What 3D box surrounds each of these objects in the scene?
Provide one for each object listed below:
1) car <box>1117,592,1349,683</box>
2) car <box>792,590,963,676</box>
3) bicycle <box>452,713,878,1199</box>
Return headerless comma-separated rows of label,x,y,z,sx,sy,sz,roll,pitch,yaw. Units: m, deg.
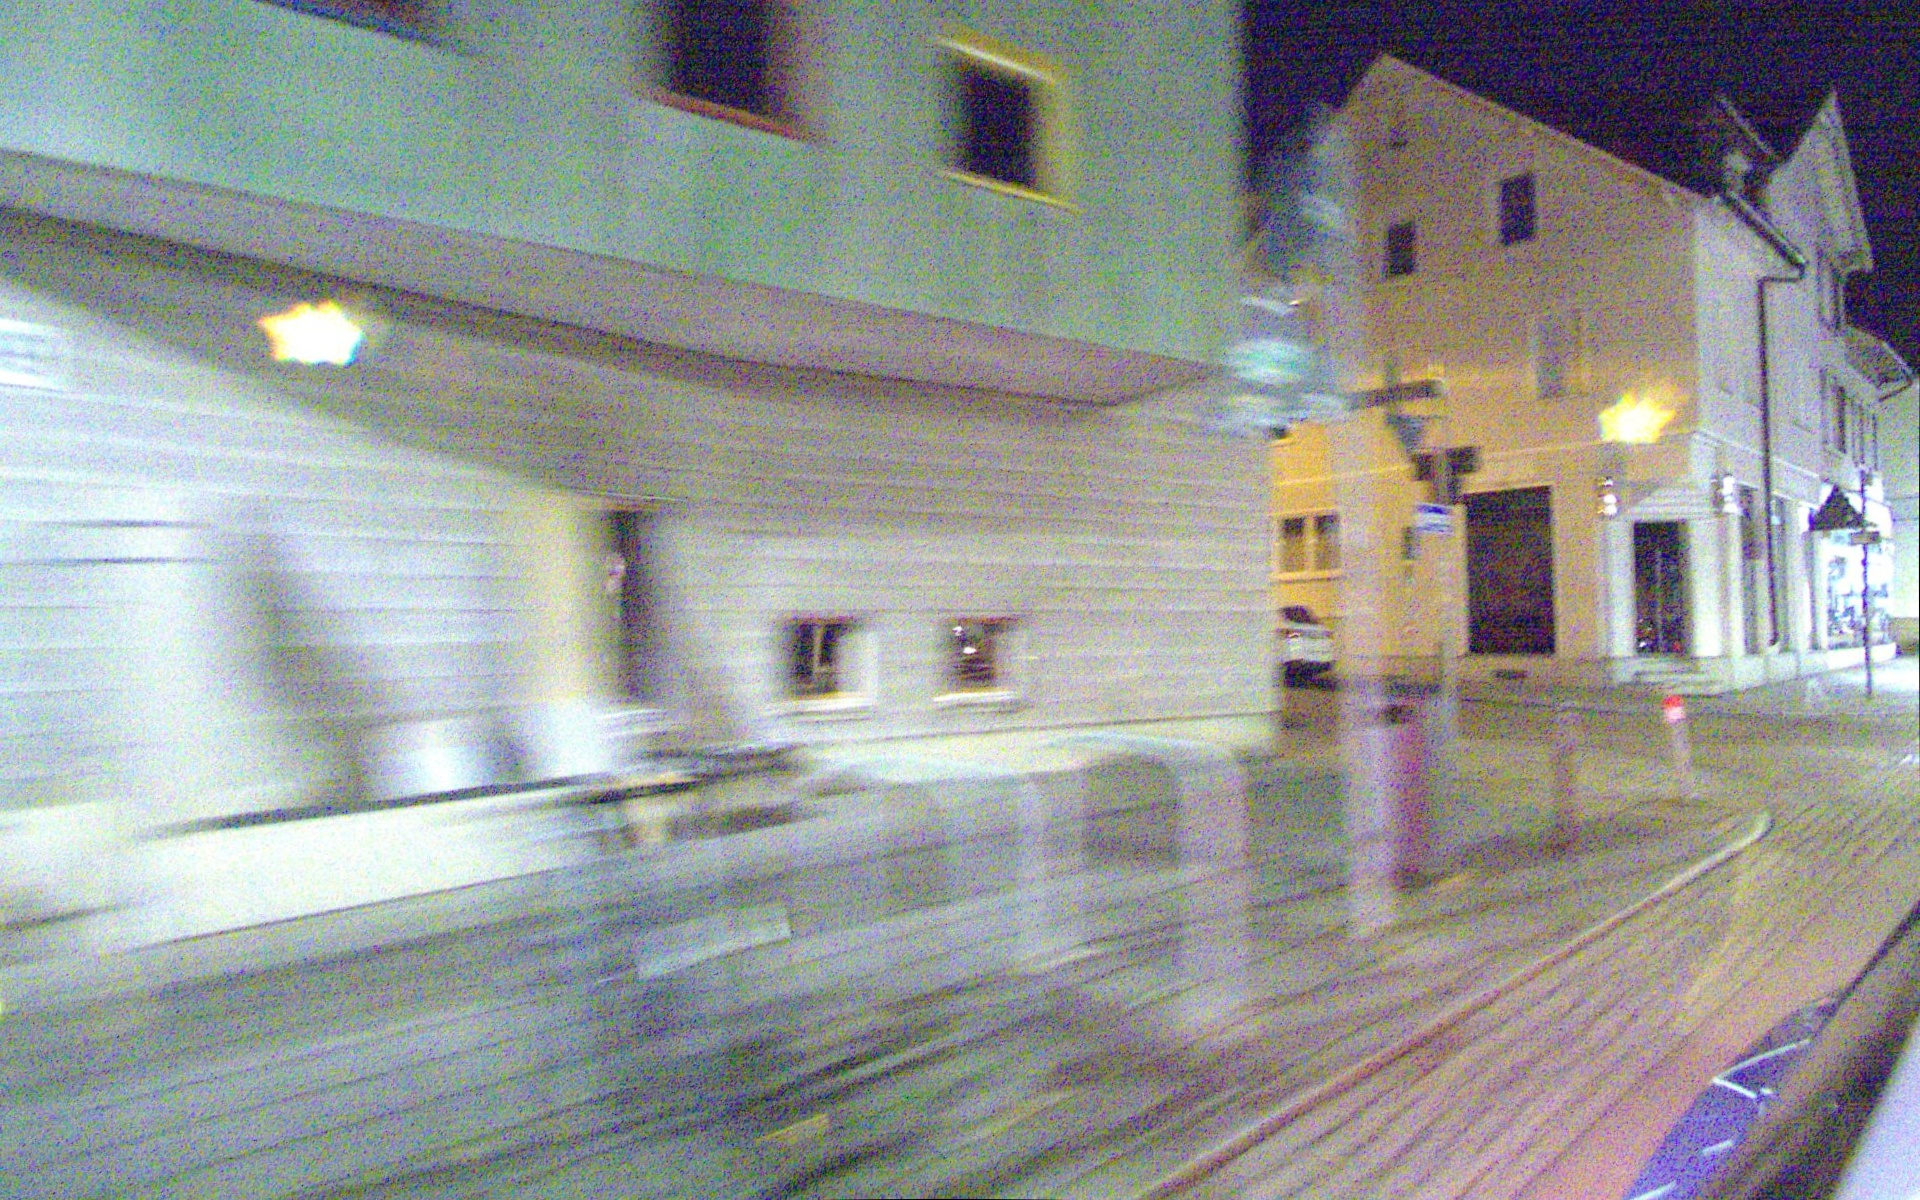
car,5.469,0.696,20.748,1.865,1.660,4.315,2,-1,-39
car,-1.787,0.629,20.974,1.632,1.608,3.859,0,-1,-40
bicycle,-0.887,0.911,2.653,0.340,1.076,1.756,1,-1,-42
